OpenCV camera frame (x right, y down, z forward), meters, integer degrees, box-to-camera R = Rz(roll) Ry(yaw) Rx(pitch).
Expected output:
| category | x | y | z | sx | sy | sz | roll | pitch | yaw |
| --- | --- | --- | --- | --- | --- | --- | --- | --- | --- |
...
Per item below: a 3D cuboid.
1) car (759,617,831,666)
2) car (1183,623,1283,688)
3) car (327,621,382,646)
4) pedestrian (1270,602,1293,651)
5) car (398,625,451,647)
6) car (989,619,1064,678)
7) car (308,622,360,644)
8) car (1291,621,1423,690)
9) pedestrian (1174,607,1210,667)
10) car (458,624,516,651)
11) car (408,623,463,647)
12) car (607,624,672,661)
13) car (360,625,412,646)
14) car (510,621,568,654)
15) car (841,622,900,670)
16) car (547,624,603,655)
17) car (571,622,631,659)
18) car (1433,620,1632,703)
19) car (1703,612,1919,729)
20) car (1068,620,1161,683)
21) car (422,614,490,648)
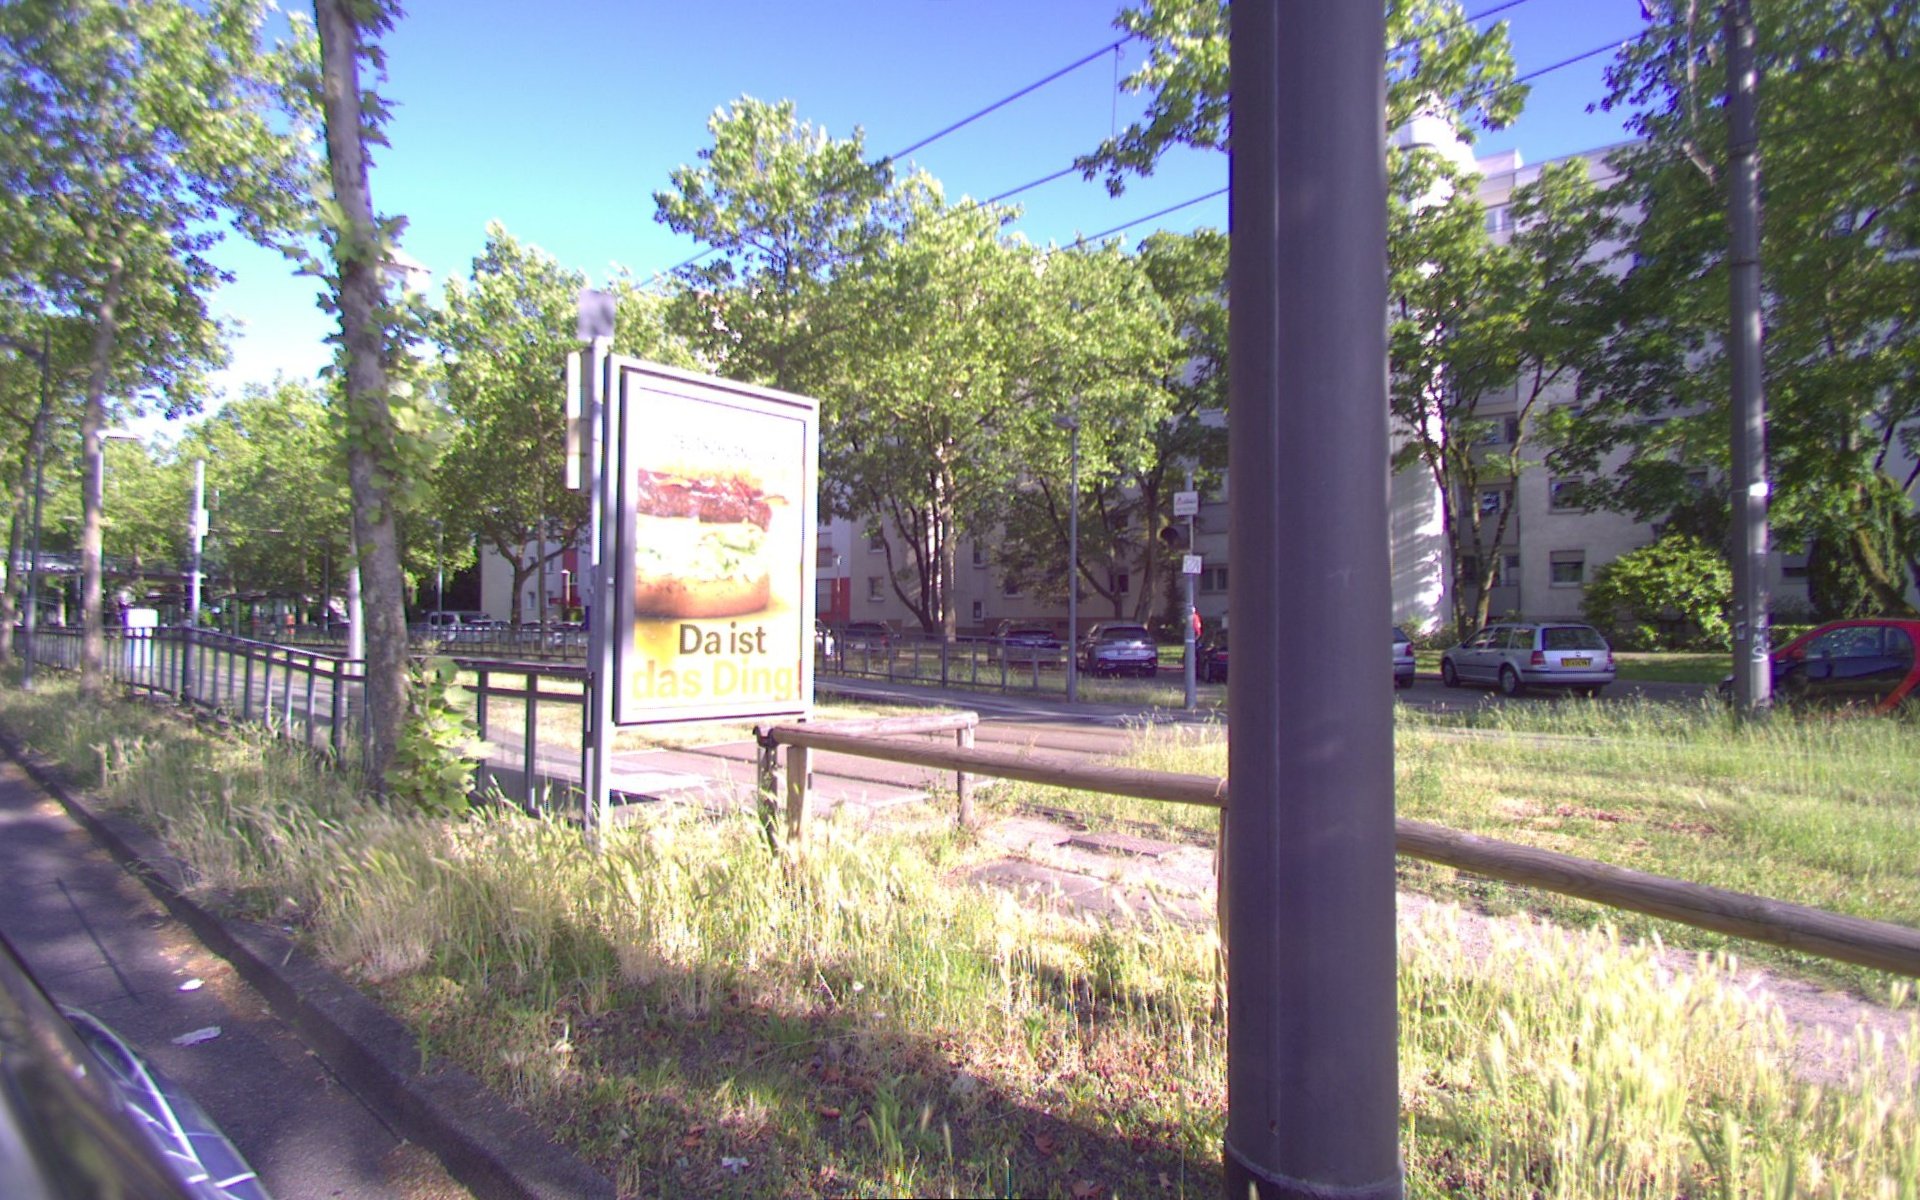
| category | x | y | z | sx | sy | sz | roll | pitch | yaw |
| --- | --- | --- | --- | --- | --- | --- | --- | --- | --- |
| car | -6.003 | 1.486 | 37.223 | 1.791 | 1.607 | 3.997 | -1 | 0 | 3 |
| car | 6.739 | 1.336 | 25.314 | 1.572 | 1.360 | 3.922 | -1 | 0 | 3 |
| car | -40.696 | 2.236 | 68.074 | 1.578 | 1.582 | 3.830 | 0 | -1 | -3 |
| pedestrian | 11.674 | 0.967 | 36.716 | 0.634 | 1.770 | 0.516 | -1 | -2 | 39 |
| car | -33.056 | 2.186 | 62.539 | 1.459 | 1.311 | 3.488 | 0 | -1 | -1 |
| car | 1.883 | 1.362 | 29.650 | 1.669 | 1.499 | 4.003 | -1 | 0 | -4 |
| car | -44.931 | 2.378 | 72.712 | 1.578 | 1.538 | 3.737 | 0 | -1 | -3 |
| car | 9.124 | 1.232 | 23.556 | 1.553 | 1.431 | 3.620 | -1 | -1 | -1 |
| pedestrian | 6.972 | 1.096 | 30.427 | 0.755 | 1.770 | 0.752 | -1 | -2 | 41 |
| car | -25.864 | 2.015 | 55.471 | 1.605 | 1.414 | 3.488 | 0 | -1 | -1 |
| car | -30.785 | 2.046 | 59.459 | 1.459 | 1.354 | 3.488 | 0 | -1 | -1 |
| car | -14.037 | 1.841 | 44.489 | 1.470 | 1.425 | 3.880 | -1 | 0 | 3 |
| car | -37.453 | 2.296 | 66.087 | 1.459 | 1.330 | 3.488 | 0 | -1 | -1 |
| car | -21.187 | 1.885 | 51.086 | 1.539 | 1.436 | 3.489 | -3 | 0 | -2 |
| car | -3.012 | 1.543 | 34.673 | 1.538 | 1.439 | 3.761 | -1 | 0 | 3 |
| car | -18.766 | 1.902 | 49.448 | 1.459 | 1.339 | 3.488 | -2 | 0 | -1 |
| car | -16.591 | 1.853 | 46.969 | 1.445 | 1.519 | 3.393 | -1 | 0 | 3 |
| car | 11.512 | 1.172 | 20.685 | 1.685 | 1.454 | 3.978 | -1 | 0 | -2 |
| car | 11.602 | 0.865 | 13.268 | 2.848 | 1.401 | 1.779 | -1 | -2 | 41 |
| car | 4.138 | 1.349 | 27.708 | 1.650 | 1.469 | 4.004 | -1 | 0 | -4 |
| car | -28.424 | 1.749 | 57.167 | 1.843 | 1.826 | 4.047 | 0 | -1 | 0 |
